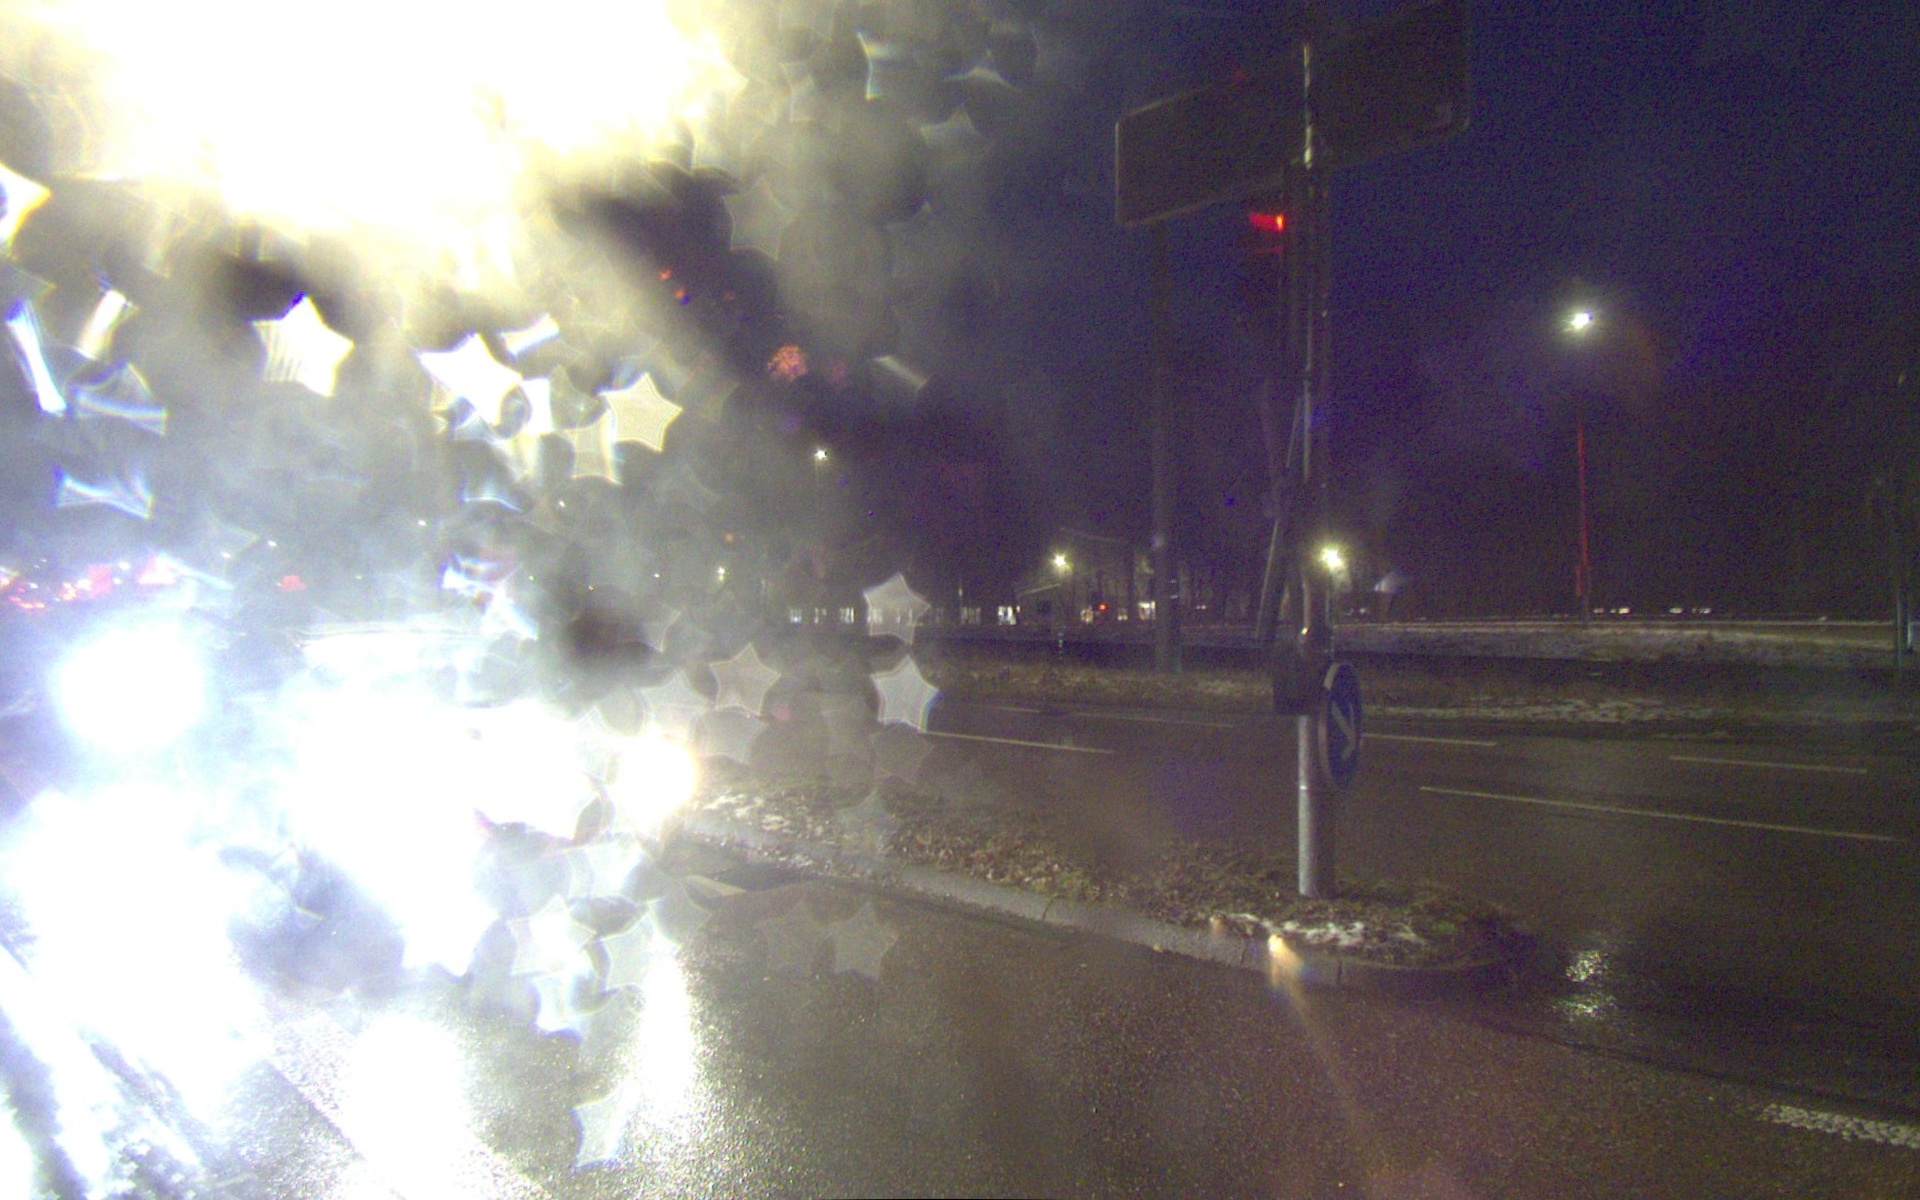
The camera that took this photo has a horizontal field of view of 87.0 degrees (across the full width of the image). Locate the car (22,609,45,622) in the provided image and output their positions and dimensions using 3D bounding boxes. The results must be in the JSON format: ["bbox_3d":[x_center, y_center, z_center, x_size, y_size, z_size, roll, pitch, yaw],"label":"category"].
[{"bbox_3d":[-123.619,2.012,135.011,4.652,1.654,1.742,-1,1,42],"label":"car"}]

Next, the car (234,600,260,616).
[{"bbox_3d":[-86.714,0.979,123.016,4.220,1.706,1.766,-1,1,44],"label":"car"}]

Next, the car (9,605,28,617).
[{"bbox_3d":[-140.075,1.610,150.559,4.031,1.600,1.782,0,1,43],"label":"car"}]

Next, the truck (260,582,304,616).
[{"bbox_3d":[-100.890,-0.202,150.530,3.400,4.643,10.219,-6,4,-45],"label":"truck"}]

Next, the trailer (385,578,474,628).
[{"bbox_3d":[-54.823,0.216,104.259,3.926,4.643,14.257,-6,4,-45],"label":"trailer"}]

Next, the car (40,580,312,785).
[{"bbox_3d":[-8.697,0.750,11.063,4.437,1.795,1.764,-1,-1,44],"label":"car"}]

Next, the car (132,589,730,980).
[{"bbox_3d":[-3.432,0.760,6.109,4.435,1.522,1.764,-1,-2,42],"label":"car"}]

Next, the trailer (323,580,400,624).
[{"bbox_3d":[-70.787,0.163,119.450,3.926,4.643,15.525,-6,4,-45],"label":"trailer"}]

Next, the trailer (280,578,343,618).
[{"bbox_3d":[-88.765,-0.347,138.415,3.926,5.049,14.845,-6,4,-45],"label":"trailer"}]
